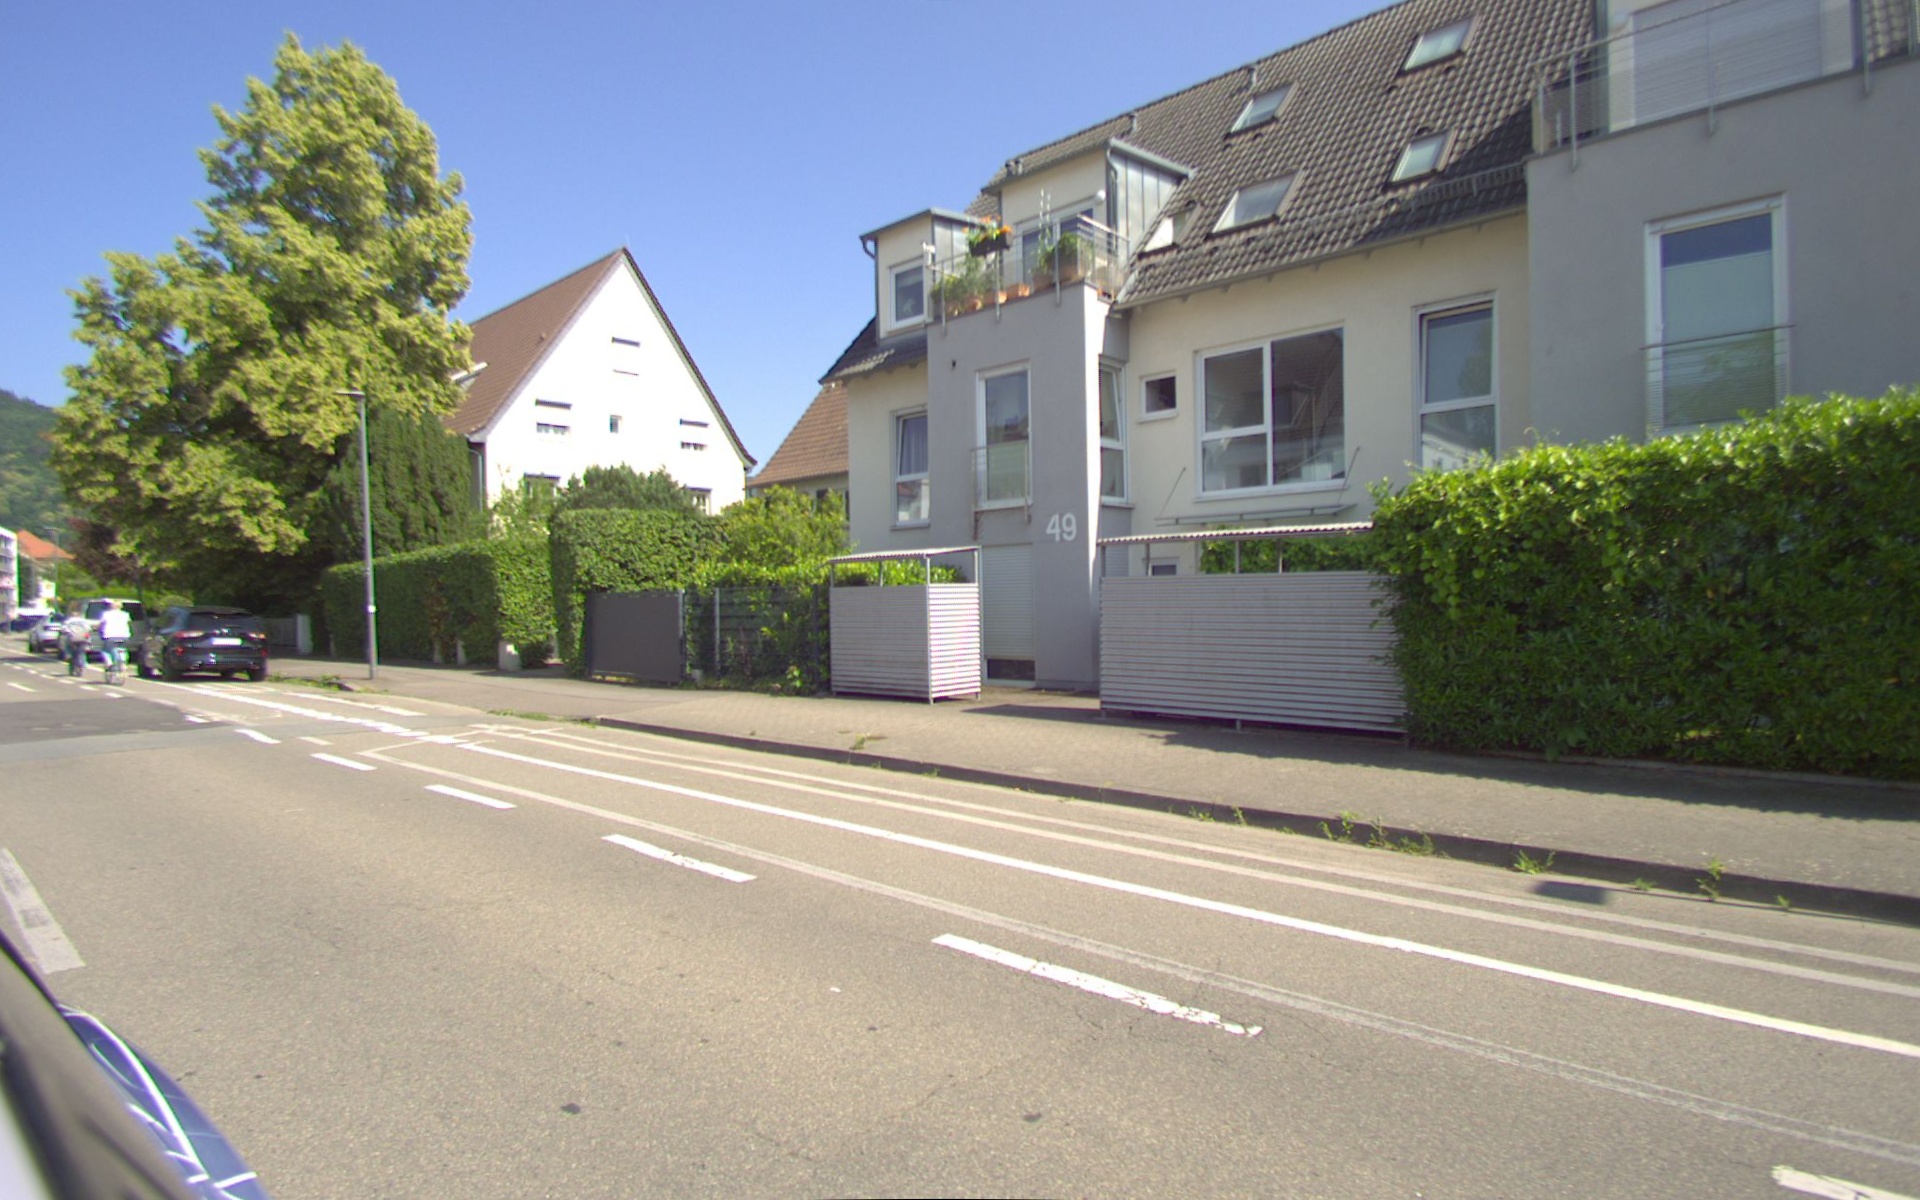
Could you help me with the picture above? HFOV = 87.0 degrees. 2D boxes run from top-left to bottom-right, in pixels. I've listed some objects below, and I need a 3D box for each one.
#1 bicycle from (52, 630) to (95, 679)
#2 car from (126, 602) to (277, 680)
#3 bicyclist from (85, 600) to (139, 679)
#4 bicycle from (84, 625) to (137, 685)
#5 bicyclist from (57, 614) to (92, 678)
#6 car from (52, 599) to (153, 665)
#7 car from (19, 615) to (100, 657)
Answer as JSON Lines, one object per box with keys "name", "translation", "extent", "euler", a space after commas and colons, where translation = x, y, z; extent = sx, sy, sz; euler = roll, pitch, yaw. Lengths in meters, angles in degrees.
{"name": "bicycle", "translation": [-20.890, 1.262, 23.846], "extent": [1.346, 1.113, 0.594], "euler": [-1, -2, 42]}
{"name": "car", "translation": [-17.358, 0.920, 23.091], "extent": [4.446, 1.623, 1.831], "euler": [-1, -4, 41]}
{"name": "bicyclist", "translation": [-17.542, 0.806, 20.933], "extent": [0.859, 1.592, 0.668], "euler": [-1, -3, 42]}
{"name": "bicycle", "translation": [-17.696, 1.118, 21.076], "extent": [2.035, 1.194, 0.553], "euler": [-1, -2, 42]}
{"name": "bicyclist", "translation": [-20.849, 1.069, 23.815], "extent": [0.964, 1.465, 0.485], "euler": [-1, -2, 42]}
{"name": "car", "translation": [-27.197, 0.995, 32.047], "extent": [4.868, 1.934, 1.864], "euler": [-2, -2, 43]}
{"name": "car", "translation": [-34.669, 1.381, 38.928], "extent": [4.560, 1.497, 1.814], "euler": [-1, -3, 42]}
